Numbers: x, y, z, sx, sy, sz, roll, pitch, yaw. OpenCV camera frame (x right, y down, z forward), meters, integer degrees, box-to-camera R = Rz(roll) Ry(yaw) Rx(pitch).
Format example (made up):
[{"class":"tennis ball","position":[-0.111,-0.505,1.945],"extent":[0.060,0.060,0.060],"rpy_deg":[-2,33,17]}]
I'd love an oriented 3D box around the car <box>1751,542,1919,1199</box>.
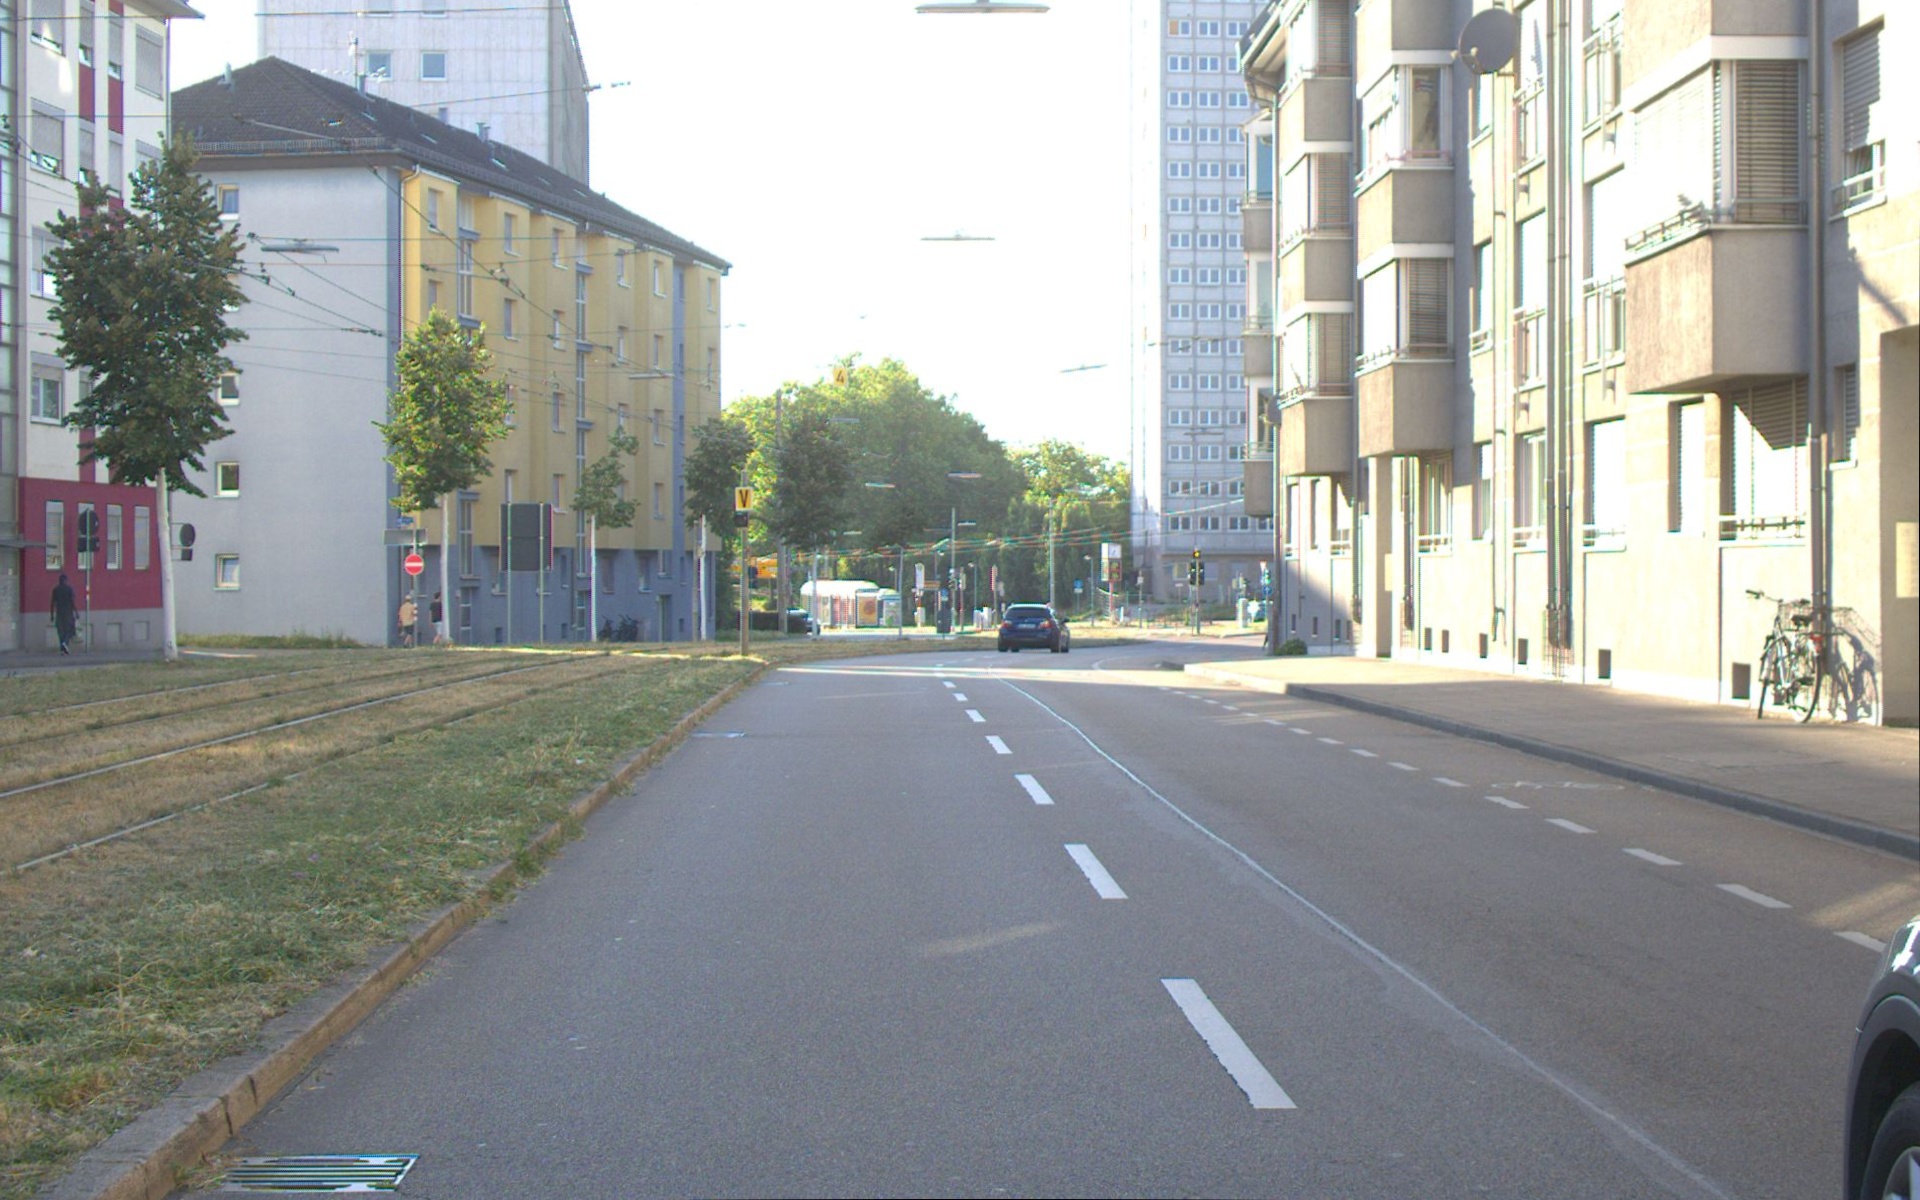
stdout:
[{"class":"car","position":[2.274,0.696,3.999],"extent":[1.697,1.547,4.225],"rpy_deg":[1,0,0]}]

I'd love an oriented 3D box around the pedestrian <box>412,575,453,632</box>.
[{"class":"pedestrian","position":[-15.829,0.114,103.108],"extent":[0.962,1.664,1.011],"rpy_deg":[1,0,4]}]

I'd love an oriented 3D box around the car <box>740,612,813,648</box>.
[{"class":"car","position":[-10.561,1.713,198.152],"extent":[3.987,2.007,2.000],"rpy_deg":[0,0,4]}]

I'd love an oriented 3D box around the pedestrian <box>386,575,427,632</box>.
[{"class":"pedestrian","position":[-16.591,0.104,103.047],"extent":[0.962,1.688,1.011],"rpy_deg":[1,0,4]}]

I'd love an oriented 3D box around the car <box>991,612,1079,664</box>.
[{"class":"car","position":[2.240,1.102,101.276],"extent":[1.927,1.451,4.325],"rpy_deg":[1,0,10]}]

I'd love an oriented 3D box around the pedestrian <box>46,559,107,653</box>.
[{"class":"pedestrian","position":[-19.322,0.129,75.199],"extent":[1.005,2.029,0.886],"rpy_deg":[1,0,3]}]

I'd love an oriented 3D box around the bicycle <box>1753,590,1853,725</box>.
[{"class":"bicycle","position":[7.033,0.471,28.713],"extent":[0.383,1.092,1.504],"rpy_deg":[-1,0,-3]}]
